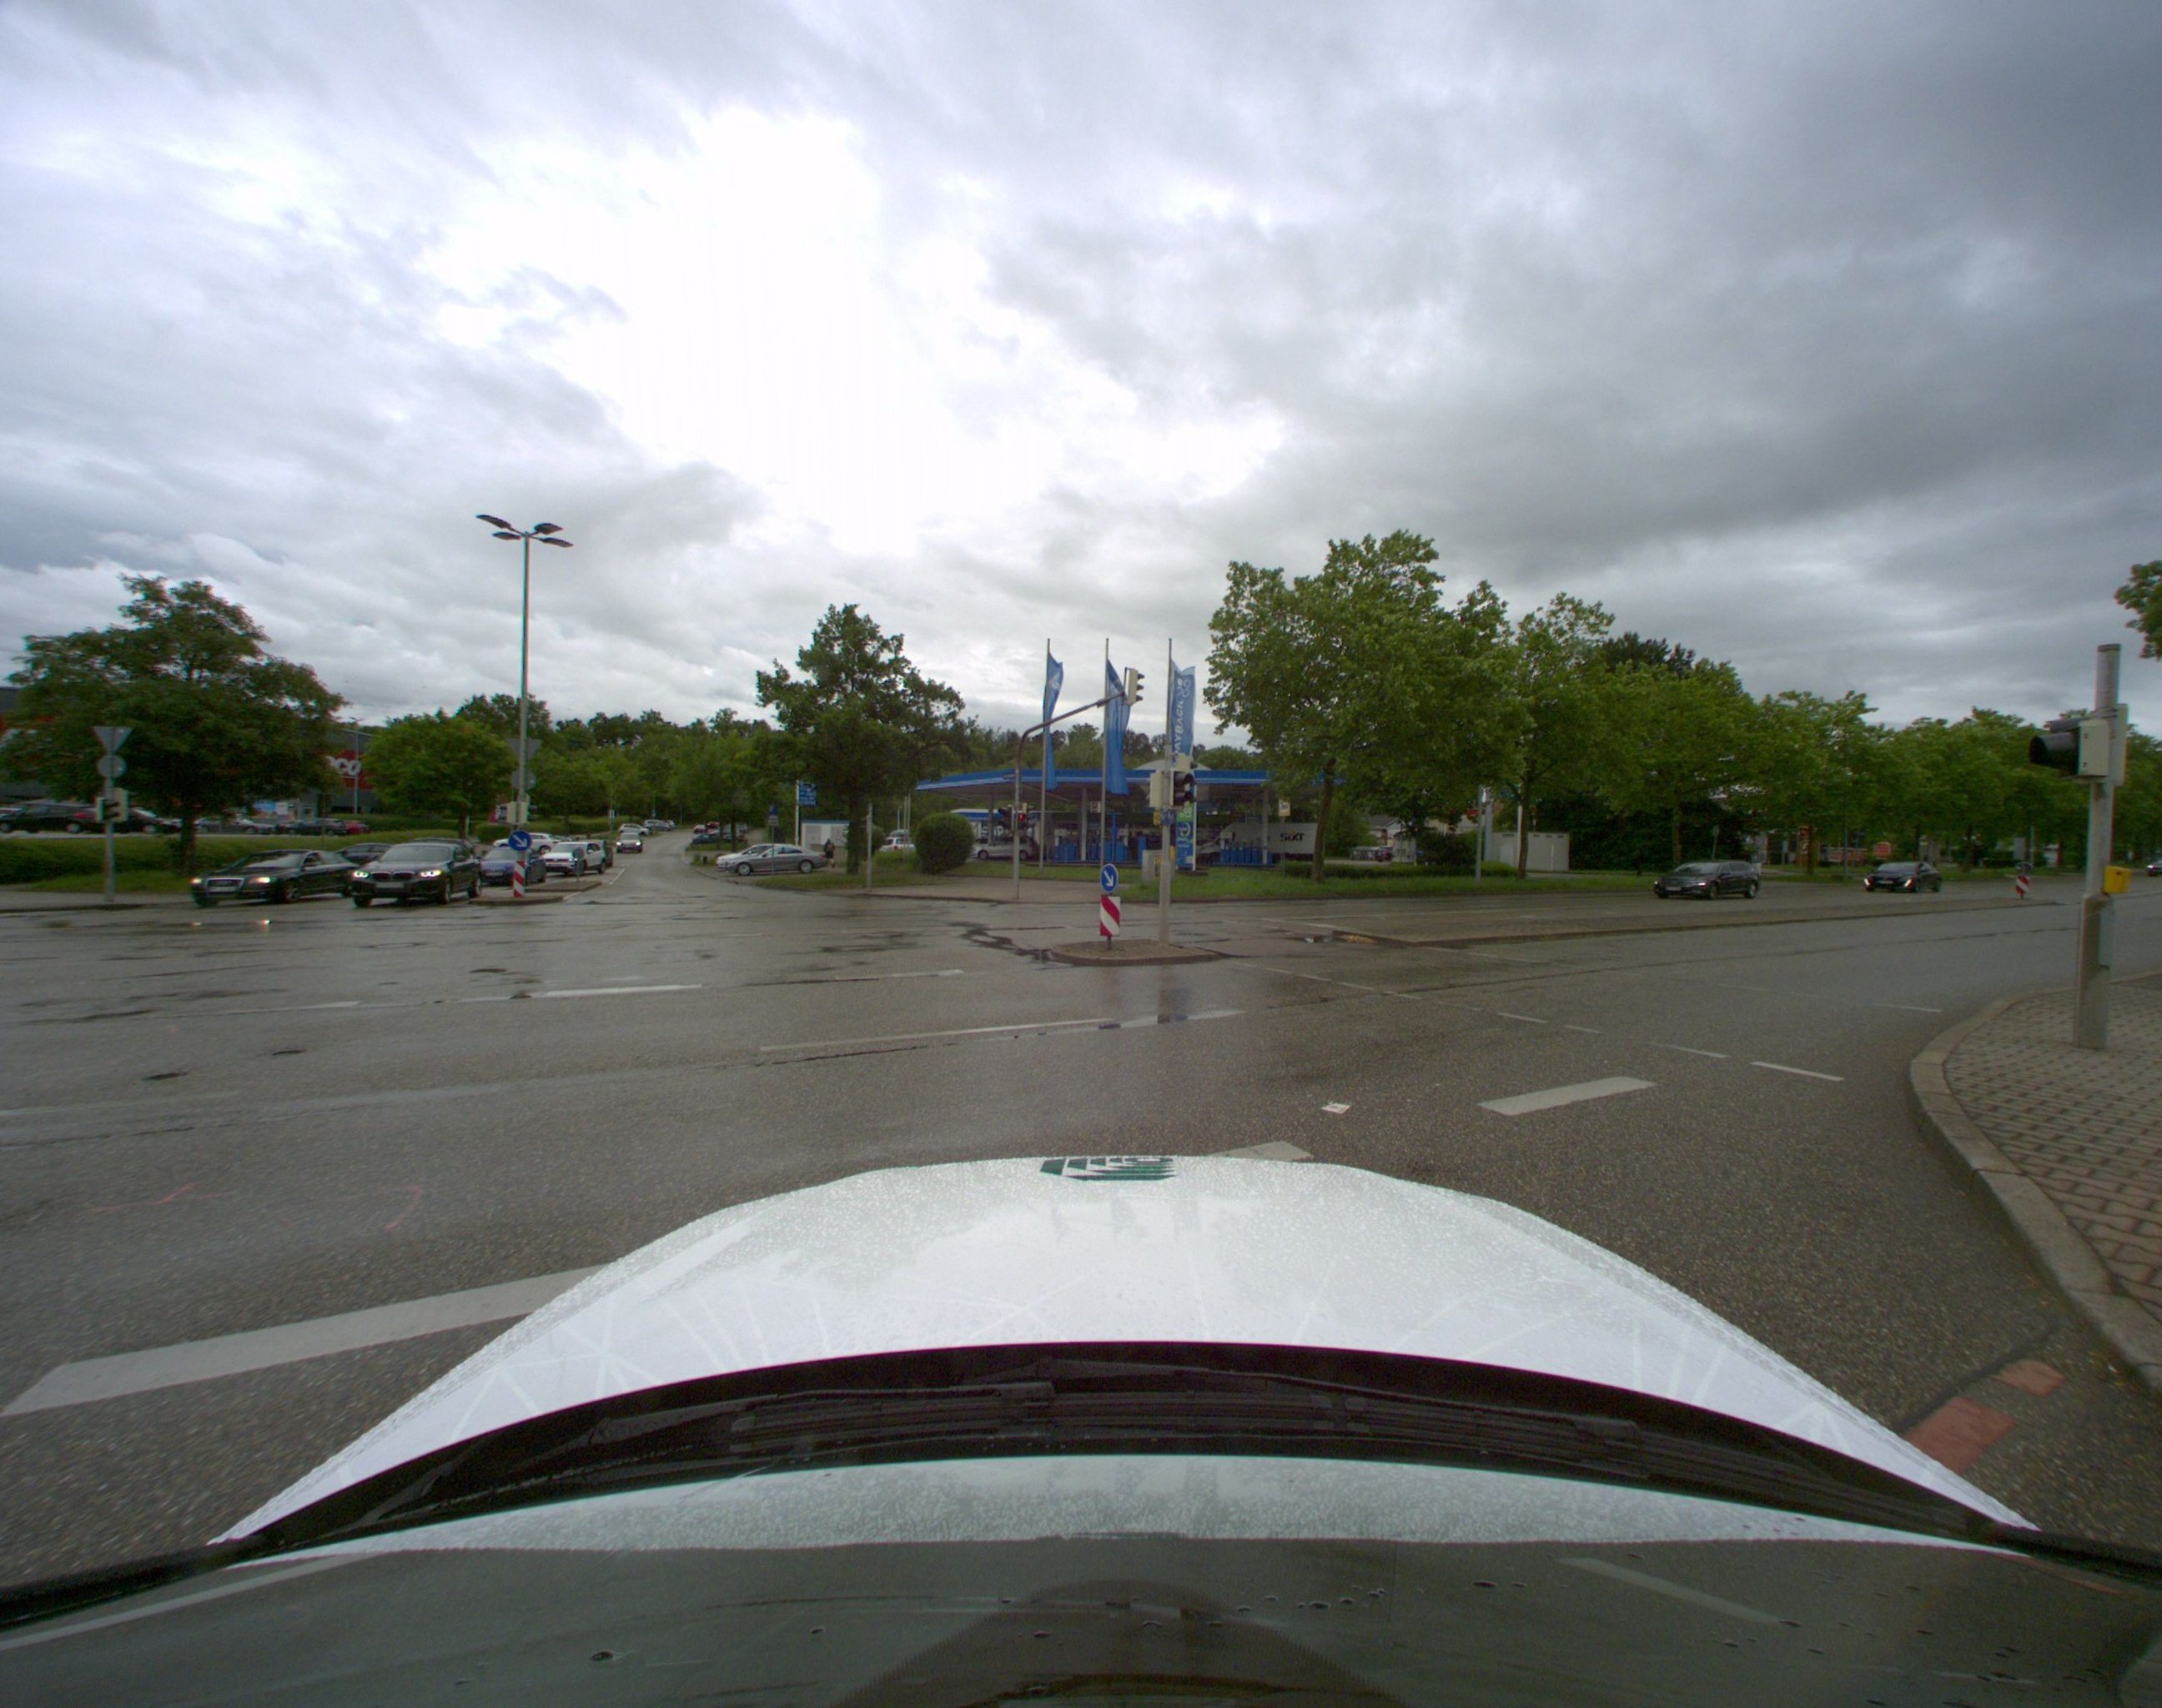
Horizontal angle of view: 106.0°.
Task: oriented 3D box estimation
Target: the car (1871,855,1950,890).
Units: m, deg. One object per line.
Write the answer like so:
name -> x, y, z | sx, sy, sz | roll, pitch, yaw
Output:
car -> 38.409, 0.835, 37.699 | 3.904, 1.508, 1.633 | 0, 0, -29

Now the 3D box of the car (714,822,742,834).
car -> -55.871, -4.123, 129.046 | 4.006, 1.739, 1.796 | 1, 0, -25

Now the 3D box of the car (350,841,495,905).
car -> -17.754, 0.448, 22.228 | 1.904, 1.553, 4.556 | 1, 0, -23

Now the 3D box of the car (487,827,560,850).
car -> -42.087, -1.146, 61.607 | 4.289, 1.609, 1.672 | 1, 0, -23

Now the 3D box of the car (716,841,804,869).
car -> -18.689, 0.058, 47.405 | 4.596, 1.589, 1.913 | 1, 0, -27

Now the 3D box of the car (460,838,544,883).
car -> -22.337, 0.236, 31.596 | 1.804, 1.633, 4.515 | 0, 0, -24

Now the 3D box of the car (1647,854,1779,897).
car -> 23.784, 0.784, 30.628 | 4.737, 1.508, 1.984 | 0, -1, -25

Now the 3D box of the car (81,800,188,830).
car -> -56.403, -2.281, 48.616 | 3.825, 1.645, 1.663 | 1, 0, -18

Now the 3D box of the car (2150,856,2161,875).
car -> 92.218, 1.004, 68.771 | 4.612, 1.562, 1.800 | 1, 0, -30

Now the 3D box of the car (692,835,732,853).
car -> -35.811, -0.983, 79.183 | 3.476, 1.654, 1.603 | 1, 0, -25

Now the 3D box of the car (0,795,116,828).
car -> -55.146, -2.272, 43.792 | 3.825, 1.645, 1.663 | 1, 0, -18

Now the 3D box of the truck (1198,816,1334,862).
truck -> 11.014, -0.892, 48.985 | 7.807, 2.675, 2.159 | 0, 0, 6

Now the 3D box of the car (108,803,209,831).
car -> -57.745, -2.298, 51.048 | 3.825, 1.645, 1.663 | 1, 0, -18

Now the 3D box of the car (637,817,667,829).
car -> -68.181, -4.953, 129.547 | 4.002, 1.794, 1.843 | 0, 0, -22

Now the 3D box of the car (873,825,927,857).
car -> -10.851, -0.753, 48.735 | 1.822, 1.797, 3.659 | 1, 0, -36

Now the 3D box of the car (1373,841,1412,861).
car -> 30.327, -0.285, 79.223 | 4.022, 1.838, 1.976 | 0, 0, -43

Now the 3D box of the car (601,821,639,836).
car -> -57.295, -3.132, 101.265 | 4.008, 1.794, 1.840 | 0, 0, -26

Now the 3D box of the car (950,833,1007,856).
car -> -7.737, -0.703, 61.641 | 3.965, 1.728, 1.799 | 0, 0, 8

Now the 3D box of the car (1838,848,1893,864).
car -> 68.363, 0.177, 71.045 | 1.292, 1.155, 3.161 | 1, 3, -24

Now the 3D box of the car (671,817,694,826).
car -> -79.396, -6.455, 162.372 | 4.001, 1.530, 1.793 | 0, 0, -21

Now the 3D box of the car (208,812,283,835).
car -> -67.077, -2.431, 65.448 | 3.825, 1.645, 1.663 | 1, 0, -18

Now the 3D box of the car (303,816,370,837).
car -> -63.407, -2.346, 69.446 | 3.825, 1.645, 1.663 | 1, 0, -18

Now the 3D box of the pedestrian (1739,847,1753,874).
pedestrian -> 42.540, 0.424, 52.082 | 0.542, 1.683, 0.508 | 1, -1, -31

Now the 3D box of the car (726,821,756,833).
car -> -51.294, -4.066, 122.851 | 4.006, 1.739, 1.796 | 1, 0, -25

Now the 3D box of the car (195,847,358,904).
car -> -21.922, 0.527, 22.423 | 1.790, 1.404, 3.970 | 1, 0, -22

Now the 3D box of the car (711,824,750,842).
car -> -36.993, -2.182, 85.978 | 3.715, 1.750, 1.683 | 1, 0, -25

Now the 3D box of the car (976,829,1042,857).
car -> -4.920, -0.715, 55.849 | 4.091, 1.807, 1.950 | 1, 0, 8

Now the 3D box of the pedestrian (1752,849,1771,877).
pedestrian -> 43.079, 0.550, 51.535 | 0.581, 1.766, 0.665 | 1, 1, -9

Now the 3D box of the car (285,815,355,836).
car -> -62.440, -2.336, 66.852 | 3.825, 1.645, 1.663 | 1, 0, -18

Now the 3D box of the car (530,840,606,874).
car -> -24.337, 0.113, 38.791 | 1.898, 1.553, 3.981 | 0, 0, -14

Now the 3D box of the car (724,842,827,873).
car -> -16.045, 0.196, 42.766 | 4.911, 1.549, 1.983 | 0, 0, -27

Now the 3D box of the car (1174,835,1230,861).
car -> 8.092, -0.384, 54.402 | 3.527, 1.582, 1.695 | 2, 0, 12

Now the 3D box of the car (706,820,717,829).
car -> -71.377, -5.696, 157.317 | 1.813, 1.739, 3.968 | 1, 0, -24

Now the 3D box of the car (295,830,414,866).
car -> -32.526, -0.262, 36.591 | 3.668, 1.553, 1.670 | 1, 0, -26

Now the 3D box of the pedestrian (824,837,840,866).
pedestrian -> -14.677, -0.144, 47.975 | 0.812, 1.661, 0.879 | 0, 0, -24

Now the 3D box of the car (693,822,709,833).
car -> -58.179, -4.057, 124.618 | 1.813, 1.482, 3.726 | 1, 0, -20

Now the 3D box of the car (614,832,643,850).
car -> -38.237, -1.067, 68.896 | 1.704, 1.456, 3.647 | 0, 0, -21
